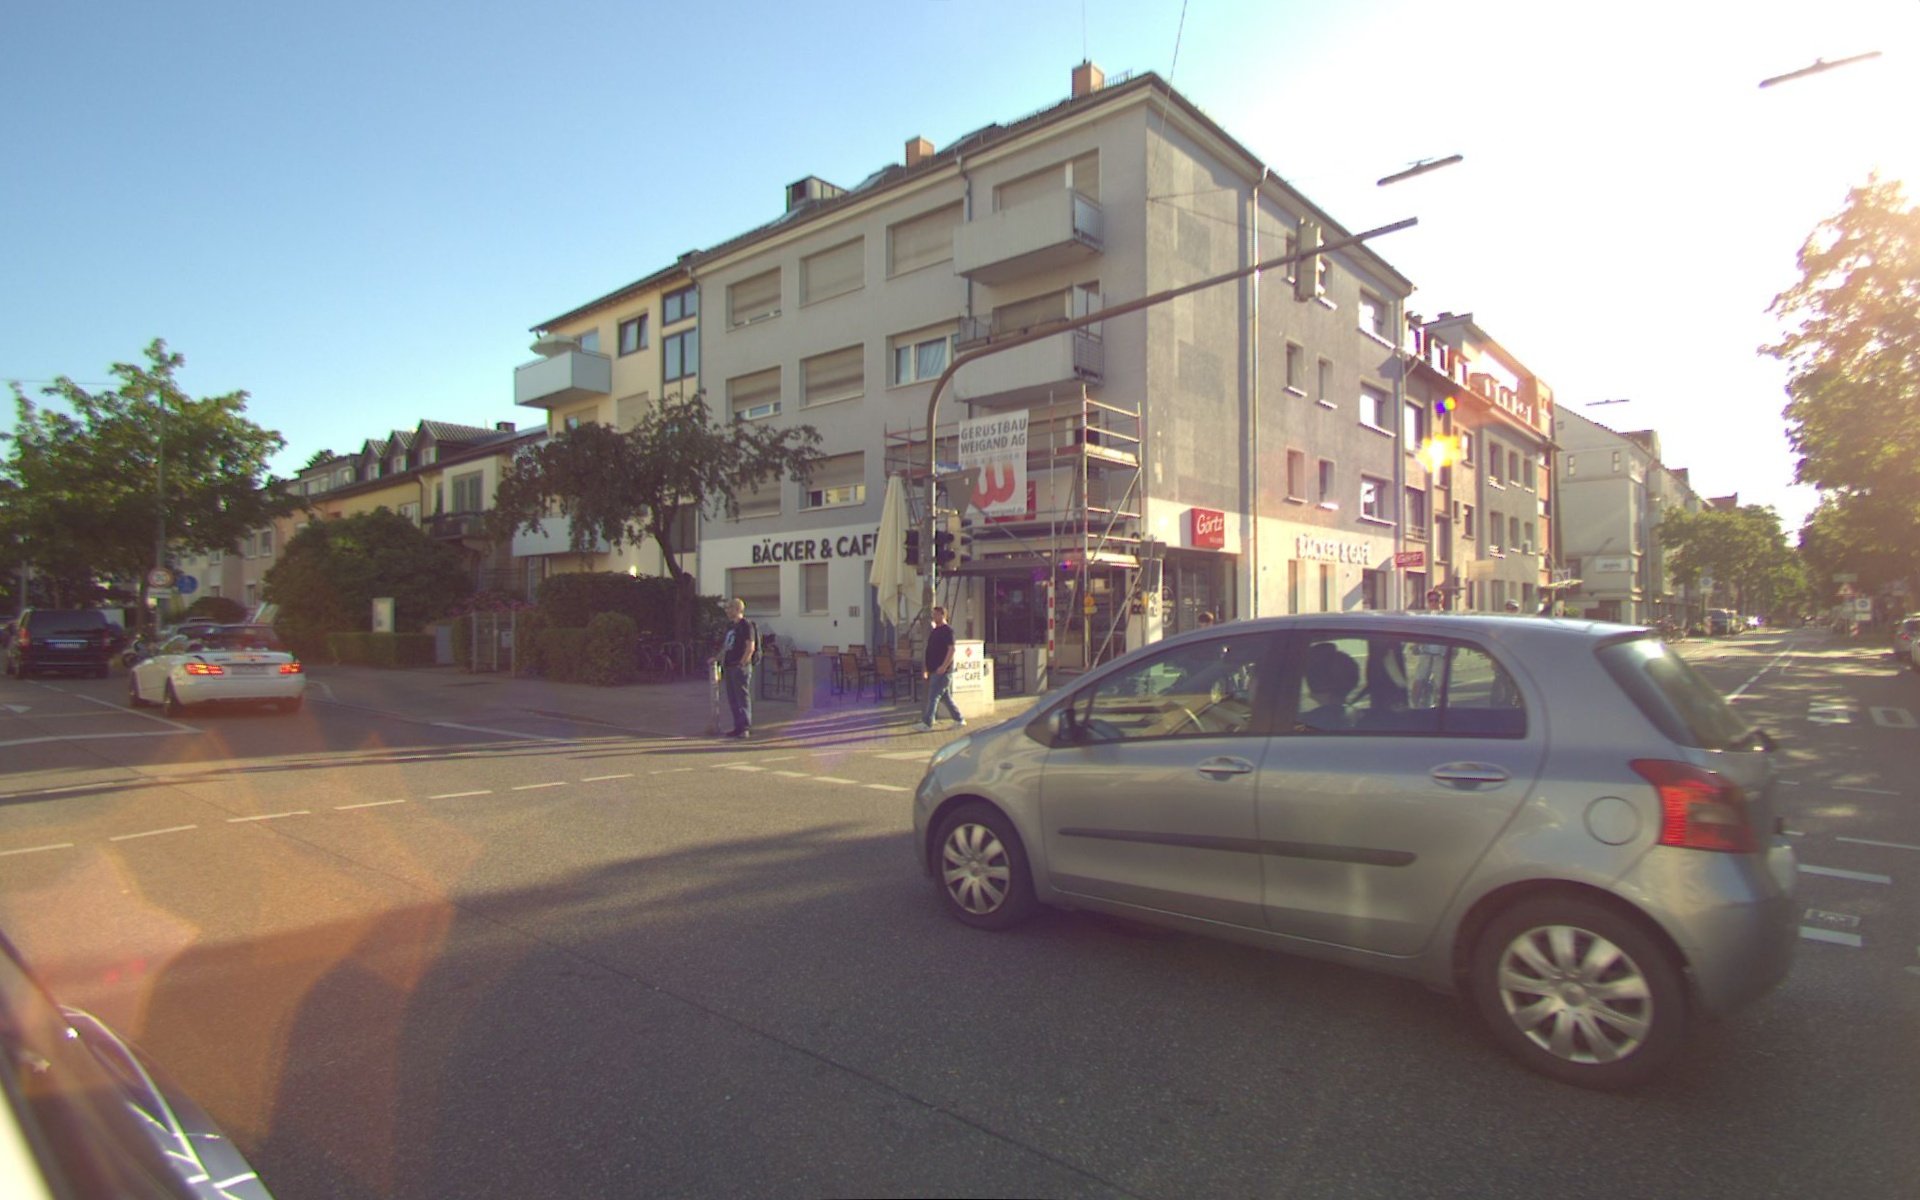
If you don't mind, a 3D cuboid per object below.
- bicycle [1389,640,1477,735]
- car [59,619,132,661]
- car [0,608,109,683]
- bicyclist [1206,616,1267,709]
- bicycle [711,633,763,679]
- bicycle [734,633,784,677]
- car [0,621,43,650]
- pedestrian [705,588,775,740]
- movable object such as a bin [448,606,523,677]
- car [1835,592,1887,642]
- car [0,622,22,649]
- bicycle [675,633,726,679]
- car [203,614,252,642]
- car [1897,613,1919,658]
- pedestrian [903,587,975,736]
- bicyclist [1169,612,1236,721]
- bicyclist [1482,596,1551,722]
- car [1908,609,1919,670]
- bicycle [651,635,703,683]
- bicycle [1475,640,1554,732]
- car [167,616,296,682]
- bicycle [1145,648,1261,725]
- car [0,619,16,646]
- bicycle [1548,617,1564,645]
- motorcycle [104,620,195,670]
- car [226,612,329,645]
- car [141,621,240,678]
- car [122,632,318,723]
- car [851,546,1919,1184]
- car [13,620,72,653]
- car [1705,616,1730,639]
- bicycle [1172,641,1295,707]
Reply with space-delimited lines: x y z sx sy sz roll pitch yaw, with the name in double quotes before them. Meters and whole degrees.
"bicycle" 6.514 1.157 13.883 0.726 1.175 1.975 -3 -2 35
"car" -35.270 1.585 41.262 4.196 1.626 1.711 -1 -1 42
"car" -24.913 1.195 27.674 4.406 1.891 1.818 -1 -1 41
"bicyclist" 4.974 1.101 18.194 0.677 1.606 0.752 2 0 -30
"bicycle" -5.243 1.297 23.756 1.477 1.022 0.433 -1 -1 44
"bicycle" -4.813 1.302 24.191 1.477 1.022 0.433 -1 -1 44
"car" -52.451 1.947 56.388 3.658 1.575 1.620 -1 -1 42
"pedestrian" -3.032 0.857 13.938 0.739 2.029 0.631 -1 -2 42
"movable object such as a bin" -11.991 1.017 25.586 1.180 1.670 1.293 0 3 41
"car" 44.906 0.831 50.469 1.863 2.377 3.944 -1 -2 42
"car" -57.159 2.077 60.157 3.658 1.575 1.670 -1 -1 42
"bicycle" -5.950 1.269 23.196 1.477 1.022 0.433 -1 -1 44
"car" -43.810 1.672 60.478 1.816 1.626 4.413 1 -1 -44
"car" 33.283 1.184 34.511 1.863 1.475 3.944 -1 -1 42
"pedestrian" -0.300 0.839 14.343 0.814 2.029 0.637 0 0 42
"bicyclist" 3.836 1.029 16.006 0.662 1.666 0.751 1 -3 -39
"bicyclist" 7.944 0.830 14.445 0.748 1.734 0.601 -2 -2 35
"car" 27.513 1.051 27.881 1.842 1.626 4.349 -1 -1 41
"bicycle" -6.374 1.312 22.770 1.477 1.022 0.433 -1 -1 44
"bicycle" 7.855 1.178 14.299 0.726 1.166 1.975 -2 -2 35
"car" -19.395 1.252 26.899 3.947 1.626 1.788 -1 -1 39
"bicycle" 3.863 1.329 16.018 1.967 1.097 0.729 1 -3 -39
"car" -62.513 2.099 65.527 3.658 1.679 1.670 -1 -1 42
"bicycle" 28.139 1.439 47.768 0.596 1.309 0.425 -1 -2 39
"motorcycle" -26.304 1.445 32.855 2.877 1.547 1.251 -1 -1 27
"car" -35.025 1.455 52.084 1.823 1.626 4.395 0 -1 10
"car" -22.807 1.413 29.963 3.571 1.547 1.732 -1 -1 43
"car" -12.763 1.231 17.350 4.440 1.330 1.821 -1 -2 42
"car" 1.535 0.710 4.460 3.999 1.569 1.785 -1 -3 42
"car" -47.920 1.866 52.842 4.408 1.626 1.818 -1 -1 42
"car" 57.146 2.053 76.335 1.391 1.754 2.783 -1 -1 39
"bicycle" 4.925 1.309 18.170 2.233 1.097 0.730 2 0 -30
